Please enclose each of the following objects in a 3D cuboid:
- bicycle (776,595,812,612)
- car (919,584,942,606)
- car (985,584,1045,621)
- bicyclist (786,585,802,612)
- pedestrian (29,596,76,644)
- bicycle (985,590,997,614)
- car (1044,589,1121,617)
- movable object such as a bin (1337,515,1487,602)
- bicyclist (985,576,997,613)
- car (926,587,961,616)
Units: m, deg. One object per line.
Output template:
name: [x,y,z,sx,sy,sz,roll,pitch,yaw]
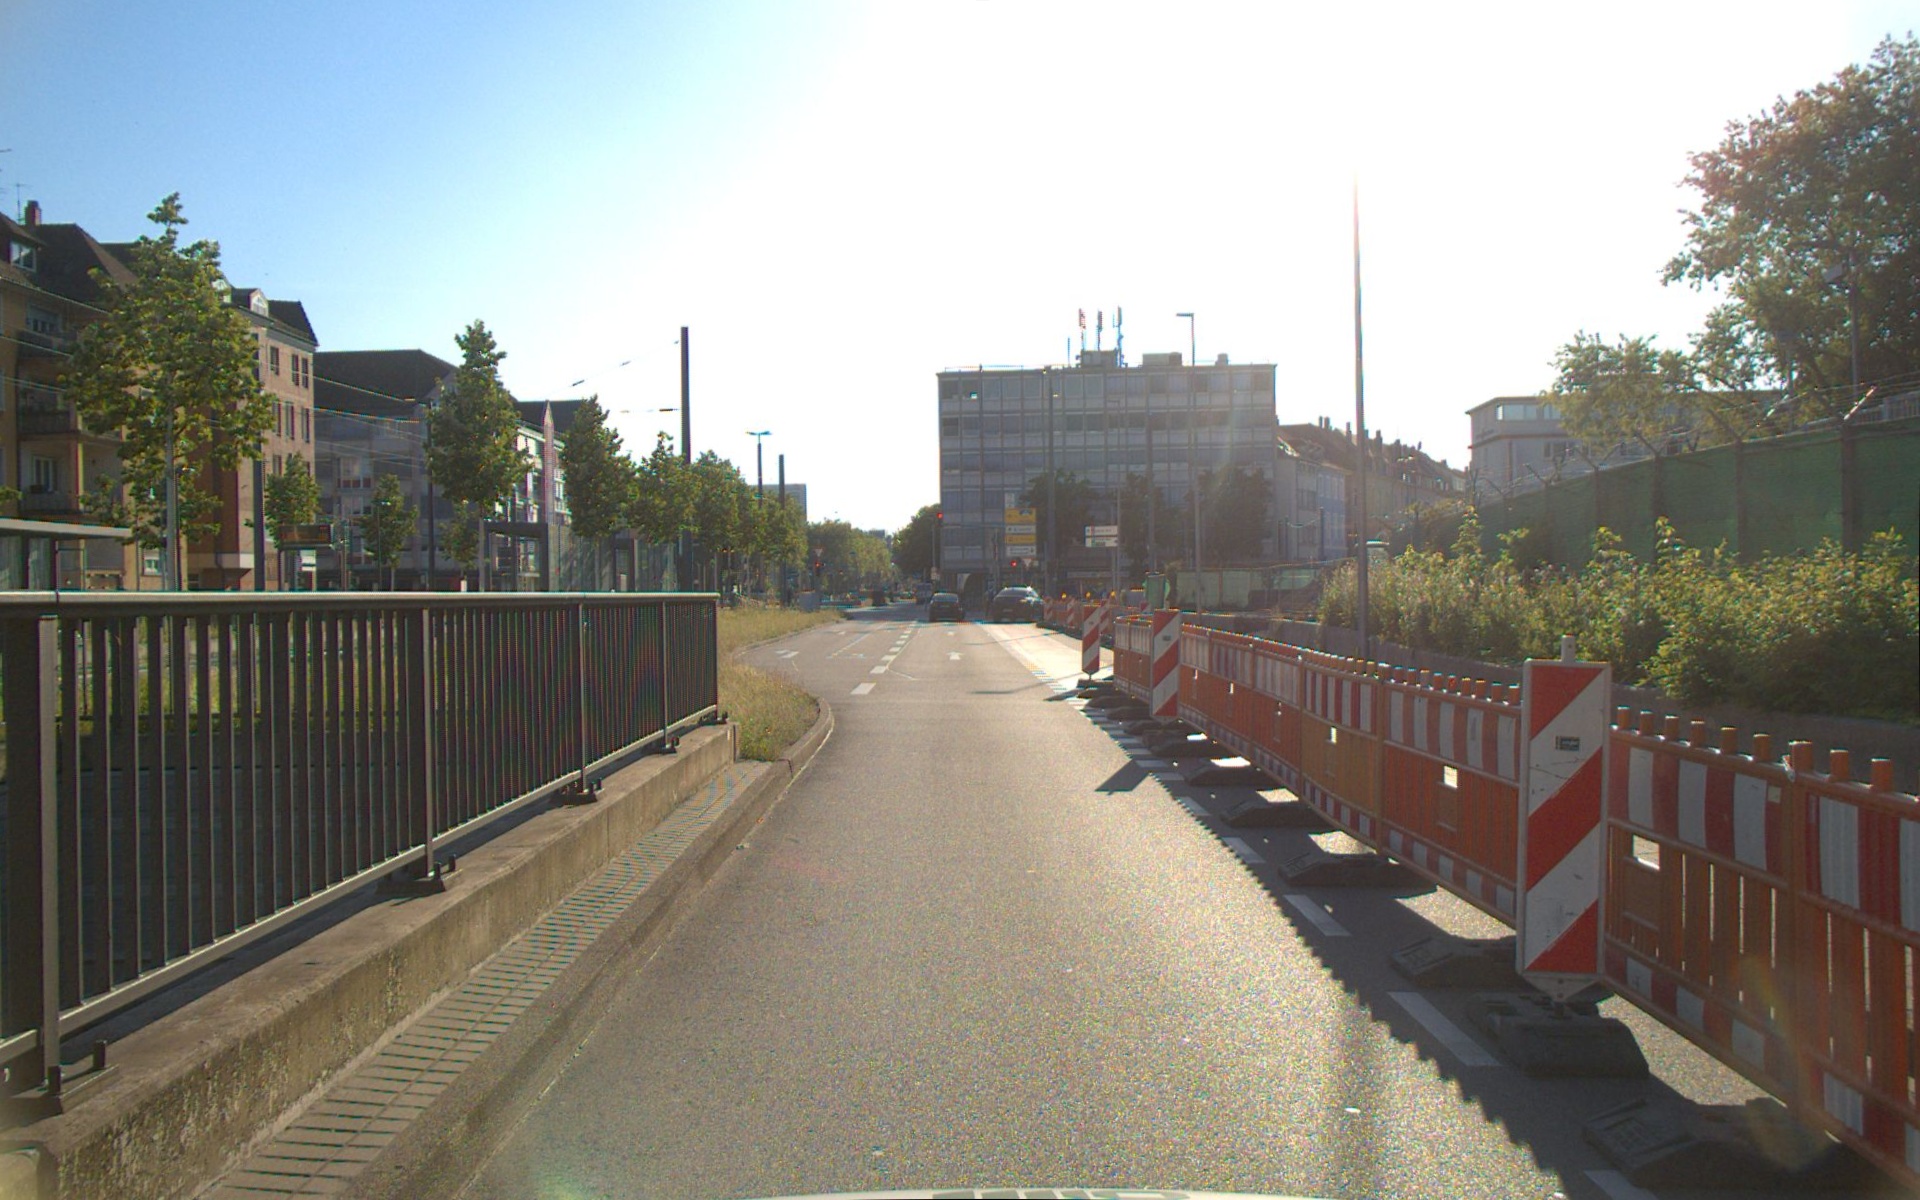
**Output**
bicycle: [-10.592,0.205,105.559,2.180,1.044,0.682,-1,0,2]
car: [-3.429,-0.544,190.123,2.436,2.434,5.932,-3,0,-2]
car: [2.829,0.101,84.192,1.952,1.723,4.002,1,1,19]
bicyclist: [-10.599,-0.110,105.561,0.939,1.690,0.691,-1,0,2]
pedestrian: [-20.635,0.452,37.626,0.614,1.065,0.794,-1,0,-1]
bicycle: [1.714,0.097,92.391,0.631,1.244,2.048,1,2,0]
car: [7.838,0.201,105.755,4.715,1.780,2.002,0,0,11]
movable object such as a bin: [19.867,-1.775,72.651,5.939,3.620,2.860,-1,0,24]
bicyclist: [1.745,-0.313,92.471,0.630,2.048,1.067,1,2,-1]
car: [-0.891,0.090,85.834,1.708,1.451,3.999,-1,0,-2]
